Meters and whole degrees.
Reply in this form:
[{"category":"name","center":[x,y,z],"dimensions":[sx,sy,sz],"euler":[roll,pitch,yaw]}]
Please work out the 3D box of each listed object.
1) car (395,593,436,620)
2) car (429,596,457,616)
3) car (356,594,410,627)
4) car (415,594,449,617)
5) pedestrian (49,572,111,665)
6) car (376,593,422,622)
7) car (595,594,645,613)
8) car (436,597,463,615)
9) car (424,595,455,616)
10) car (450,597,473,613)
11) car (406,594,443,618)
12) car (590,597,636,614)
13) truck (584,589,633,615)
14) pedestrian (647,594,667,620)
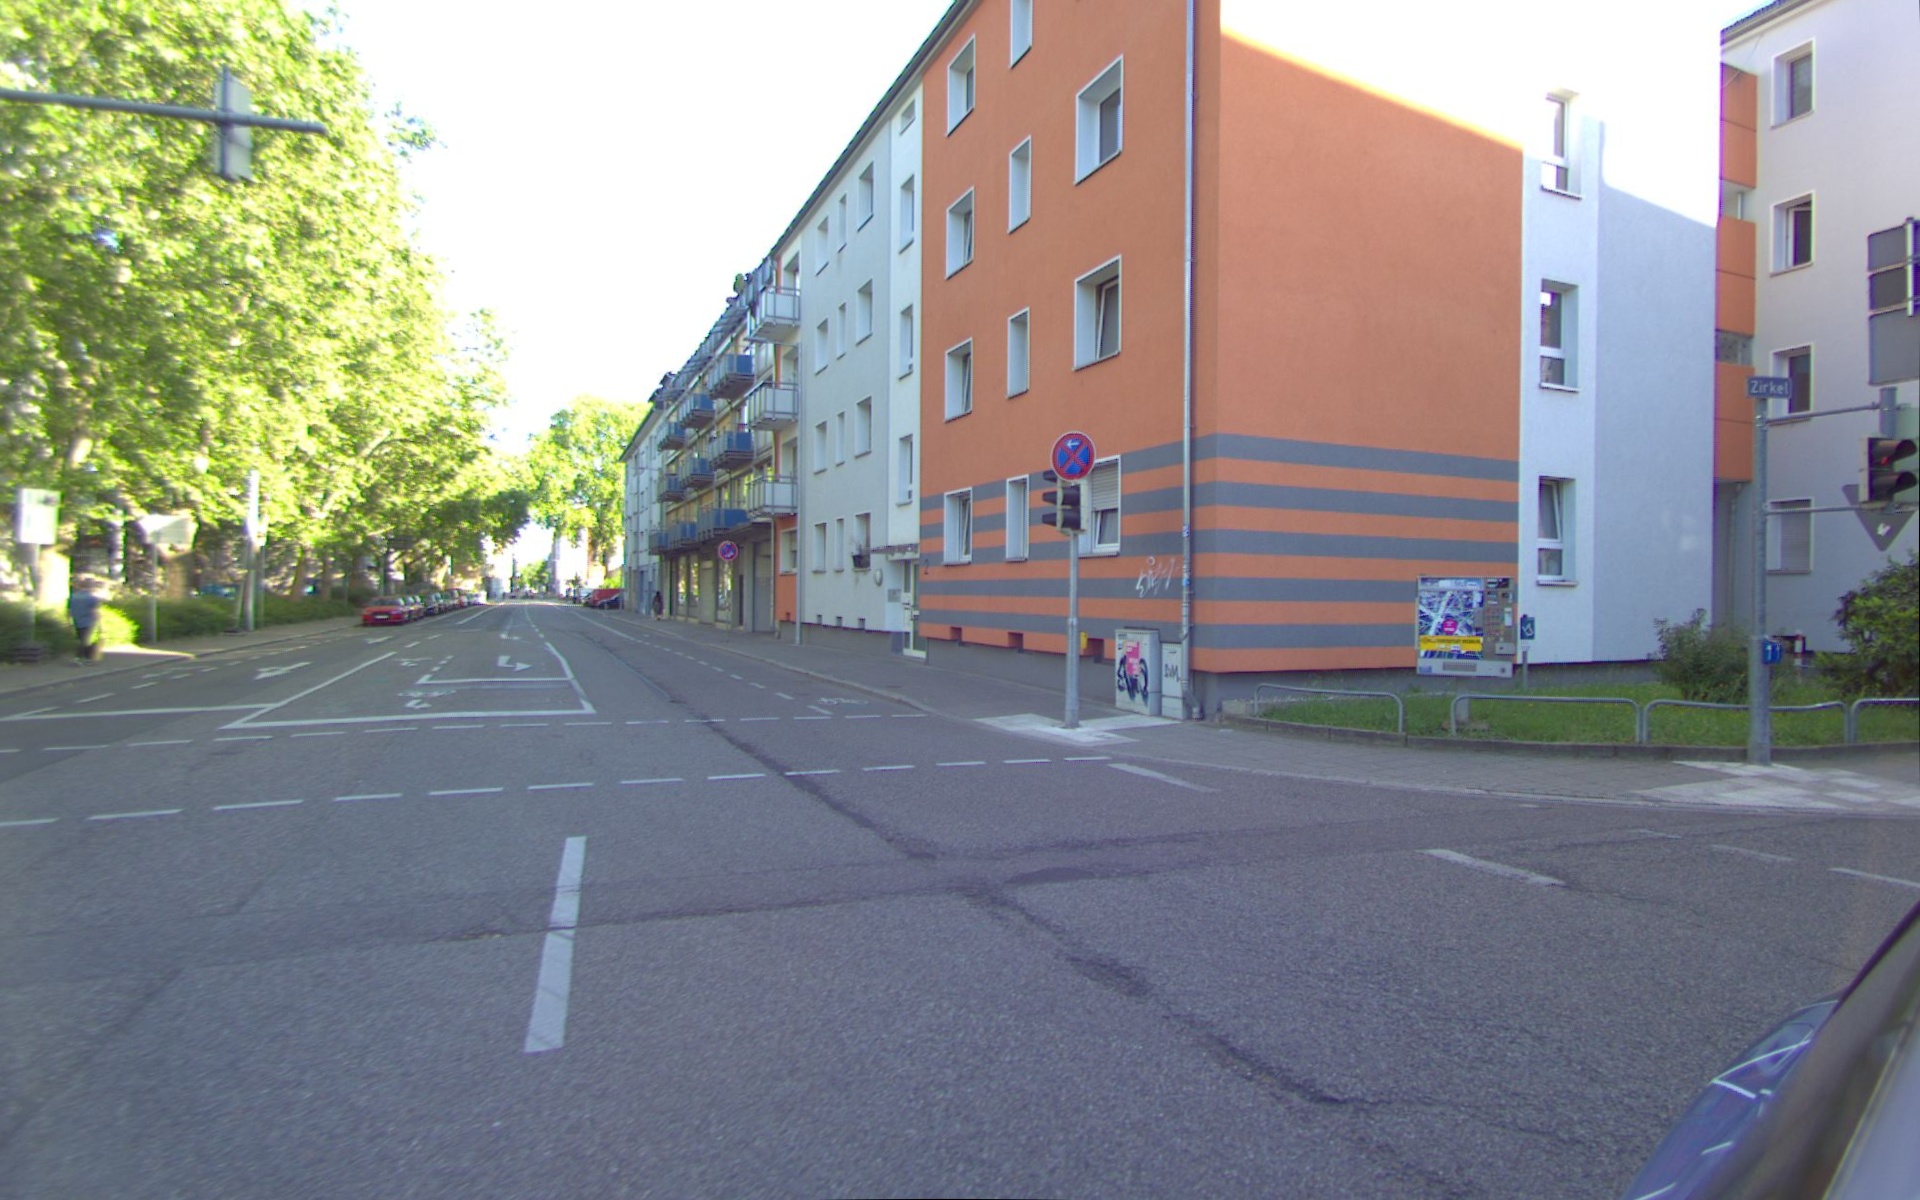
[{"category":"car","center":[-33.163,0.388,61.694],"dimensions":[1.851,1.565,4.007],"euler":[0,0,-23]},{"category":"car","center":[-42.858,0.490,83.954],"dimensions":[1.851,1.565,4.007],"euler":[0,0,-23]},{"category":"car","center":[-28.219,0.498,49.610],"dimensions":[1.851,1.565,4.007],"euler":[0,0,-23]},{"category":"car","center":[-37.844,0.388,72.550],"dimensions":[1.851,1.565,4.007],"euler":[0,0,-23]},{"category":"pedestrian","center":[-18.117,0.385,20.859],"dimensions":[0.694,1.864,0.838],"euler":[1,-2,-22]},{"category":"car","center":[-31.142,0.413,56.270],"dimensions":[1.851,1.565,4.007],"euler":[0,0,-23]},{"category":"car","center":[-29.194,0.328,86.953],"dimensions":[3.917,1.569,1.805],"euler":[0,-2,-24]},{"category":"car","center":[-44.777,0.501,88.886],"dimensions":[1.851,1.565,4.007],"euler":[0,0,-23]},{"category":"car","center":[-39.741,0.406,77.320],"dimensions":[1.851,1.565,4.007],"euler":[0,0,-23]},{"category":"car","center":[-48.539,0.471,98.570],"dimensions":[1.851,1.565,4.007],"euler":[0,0,-23]},{"category":"car","center":[-35.924,0.418,67.948],"dimensions":[1.851,1.565,4.007],"euler":[0,0,-23]},{"category":"car","center":[-32.060,0.512,93.517],"dimensions":[3.917,1.569,1.805],"euler":[0,-2,-24]},{"category":"truck","center":[-34.159,0.195,98.467],"dimensions":[4.353,2.478,1.805],"euler":[0,-2,-24]},{"category":"pedestrian","center":[-16.618,0.387,55.441],"dimensions":[0.929,1.411,0.956],"euler":[0,0,-23]}]
